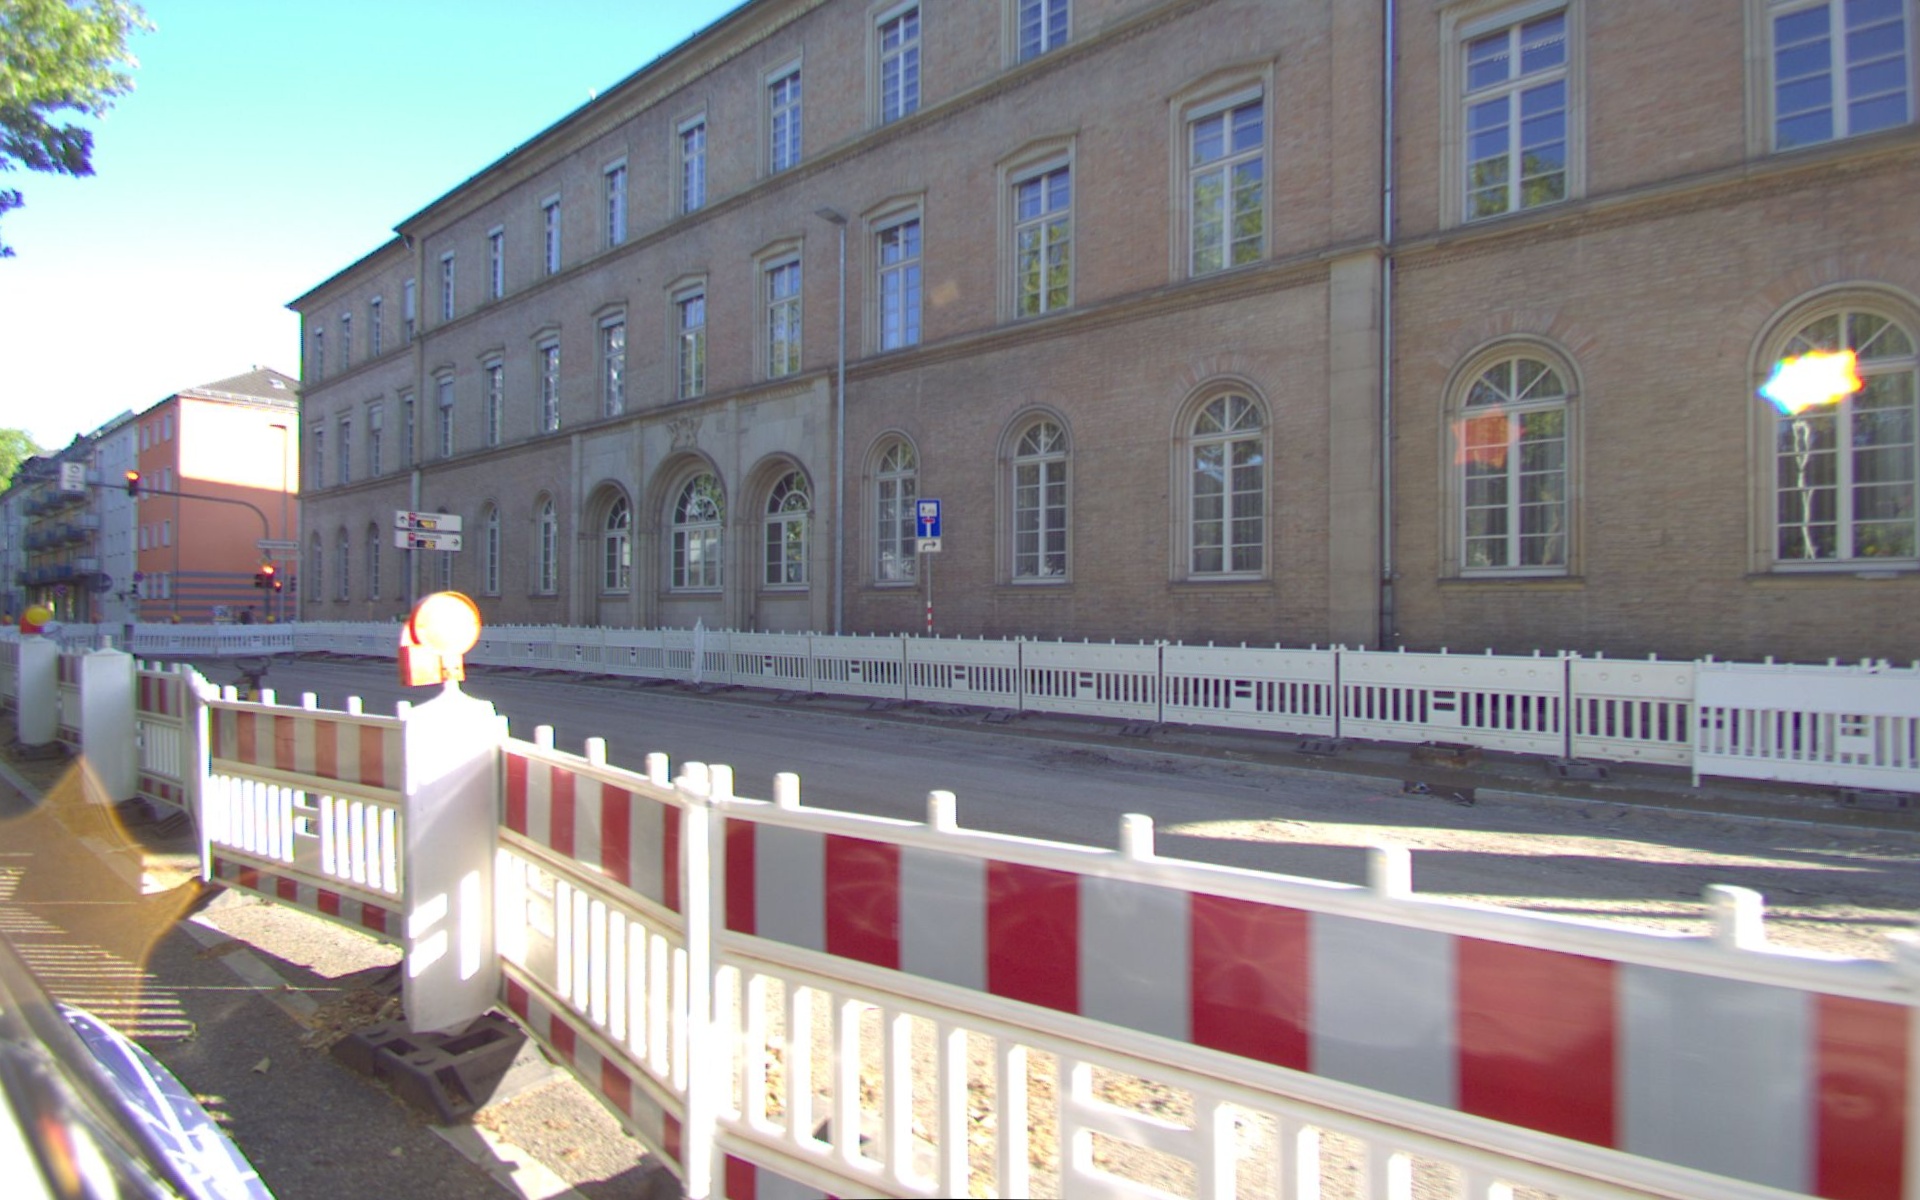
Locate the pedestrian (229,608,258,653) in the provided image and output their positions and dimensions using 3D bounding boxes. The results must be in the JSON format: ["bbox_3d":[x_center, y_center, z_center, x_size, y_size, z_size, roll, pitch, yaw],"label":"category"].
[{"bbox_3d":[-28.293,1.199,39.943,0.870,1.785,0.749,1,-2,-39],"label":"pedestrian"}]

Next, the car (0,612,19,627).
[{"bbox_3d":[-108.829,2.201,113.994,1.833,1.712,3.944,-1,-2,42],"label":"car"}]
